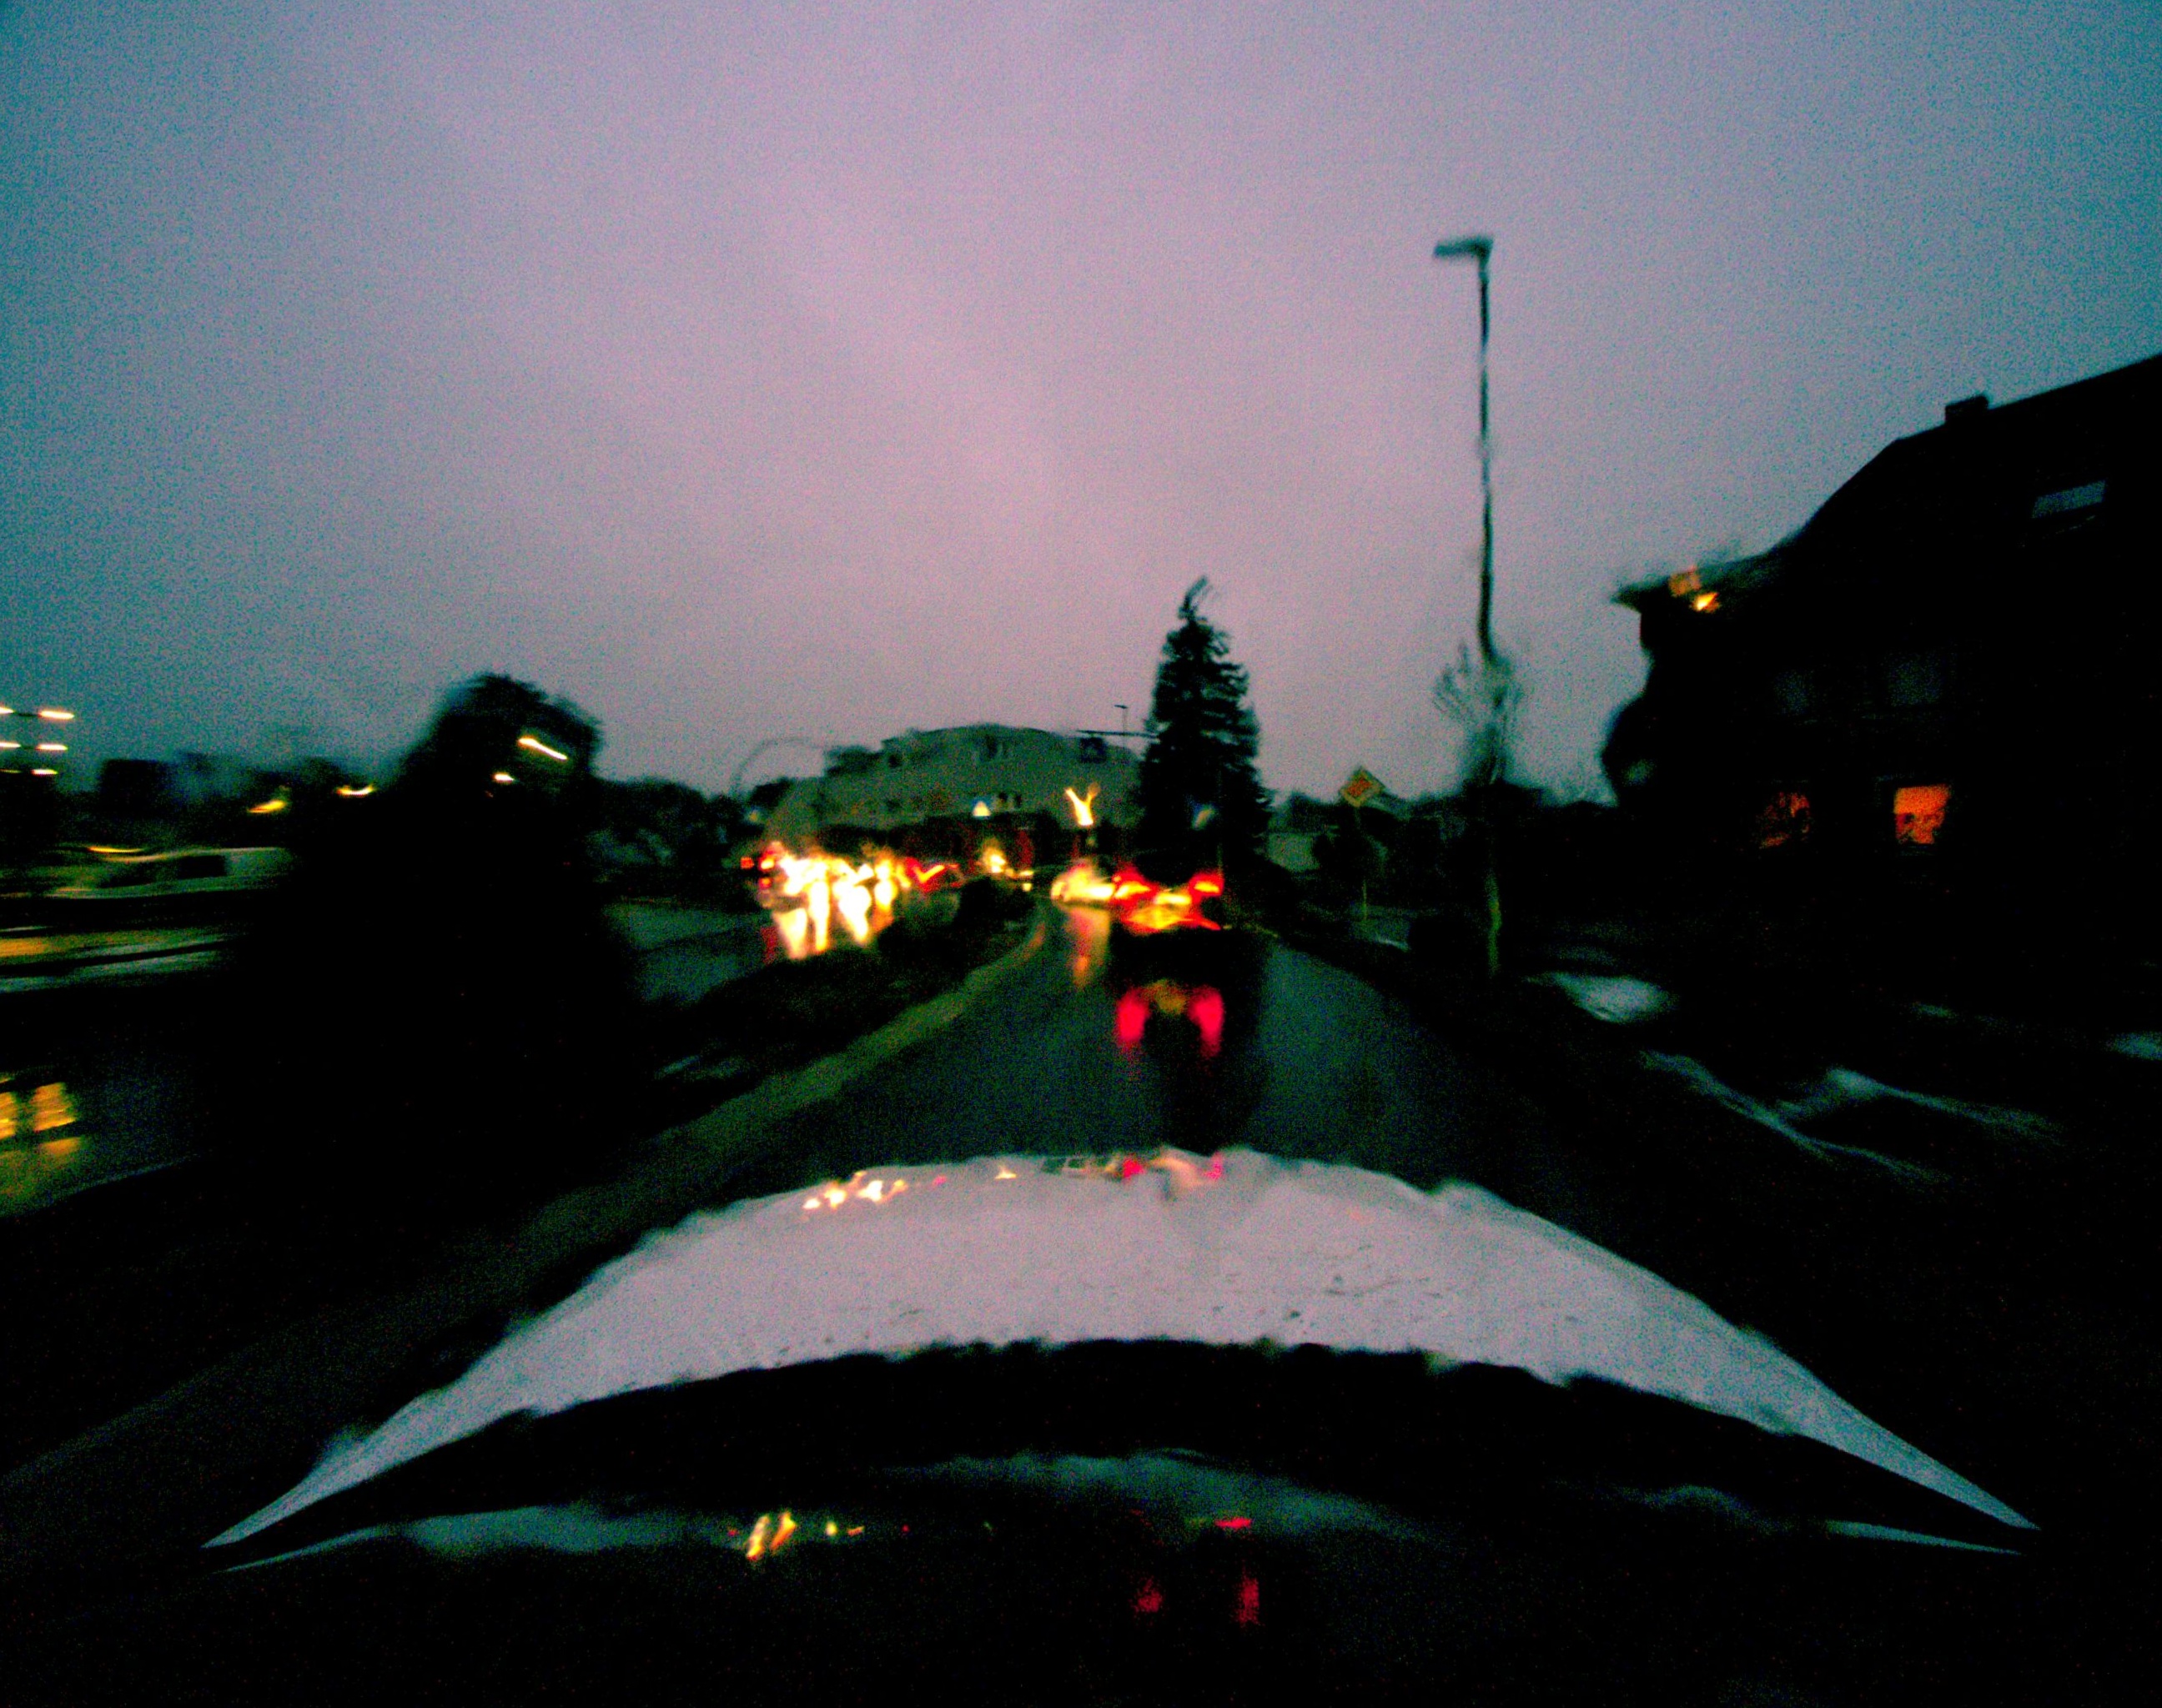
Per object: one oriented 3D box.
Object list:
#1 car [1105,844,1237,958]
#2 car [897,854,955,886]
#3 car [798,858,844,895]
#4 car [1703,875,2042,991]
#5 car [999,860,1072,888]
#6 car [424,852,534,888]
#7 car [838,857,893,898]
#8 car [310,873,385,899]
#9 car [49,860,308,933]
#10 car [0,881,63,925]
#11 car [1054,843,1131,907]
[{"bbox_3d":[1.453,0.699,14.612,1.938,1.718,4.000,-1,1,0],"label":"car"},{"bbox_3d":[-9.296,0.882,48.671,2.076,1.717,4.528,-1,1,-29],"label":"car"},{"bbox_3d":[-16.363,1.348,51.067,2.174,2.060,4.534,-1,1,-25],"label":"car"},{"bbox_3d":[11.965,1.088,12.574,1.290,1.383,3.546,0,1,-29],"label":"car"},{"bbox_3d":[-2.785,1.231,50.813,1.884,1.572,4.600,1,1,41],"label":"car"},{"bbox_3d":[-31.708,0.794,43.029,1.684,1.747,4.383,0,1,40],"label":"car"},{"bbox_3d":[-12.312,1.280,46.245,2.175,2.060,4.533,-1,1,-26],"label":"car"},{"bbox_3d":[-53.601,2.305,59.535,1.617,1.608,3.935,0,1,42],"label":"car"},{"bbox_3d":[-29.330,1.280,26.702,2.007,2.134,5.457,0,0,35],"label":"car"},{"bbox_3d":[-41.447,1.863,30.633,1.706,1.541,3.875,1,0,37],"label":"car"},{"bbox_3d":[0.284,0.613,26.992,2.159,1.689,4.567,-4,2,-3],"label":"car"}]
